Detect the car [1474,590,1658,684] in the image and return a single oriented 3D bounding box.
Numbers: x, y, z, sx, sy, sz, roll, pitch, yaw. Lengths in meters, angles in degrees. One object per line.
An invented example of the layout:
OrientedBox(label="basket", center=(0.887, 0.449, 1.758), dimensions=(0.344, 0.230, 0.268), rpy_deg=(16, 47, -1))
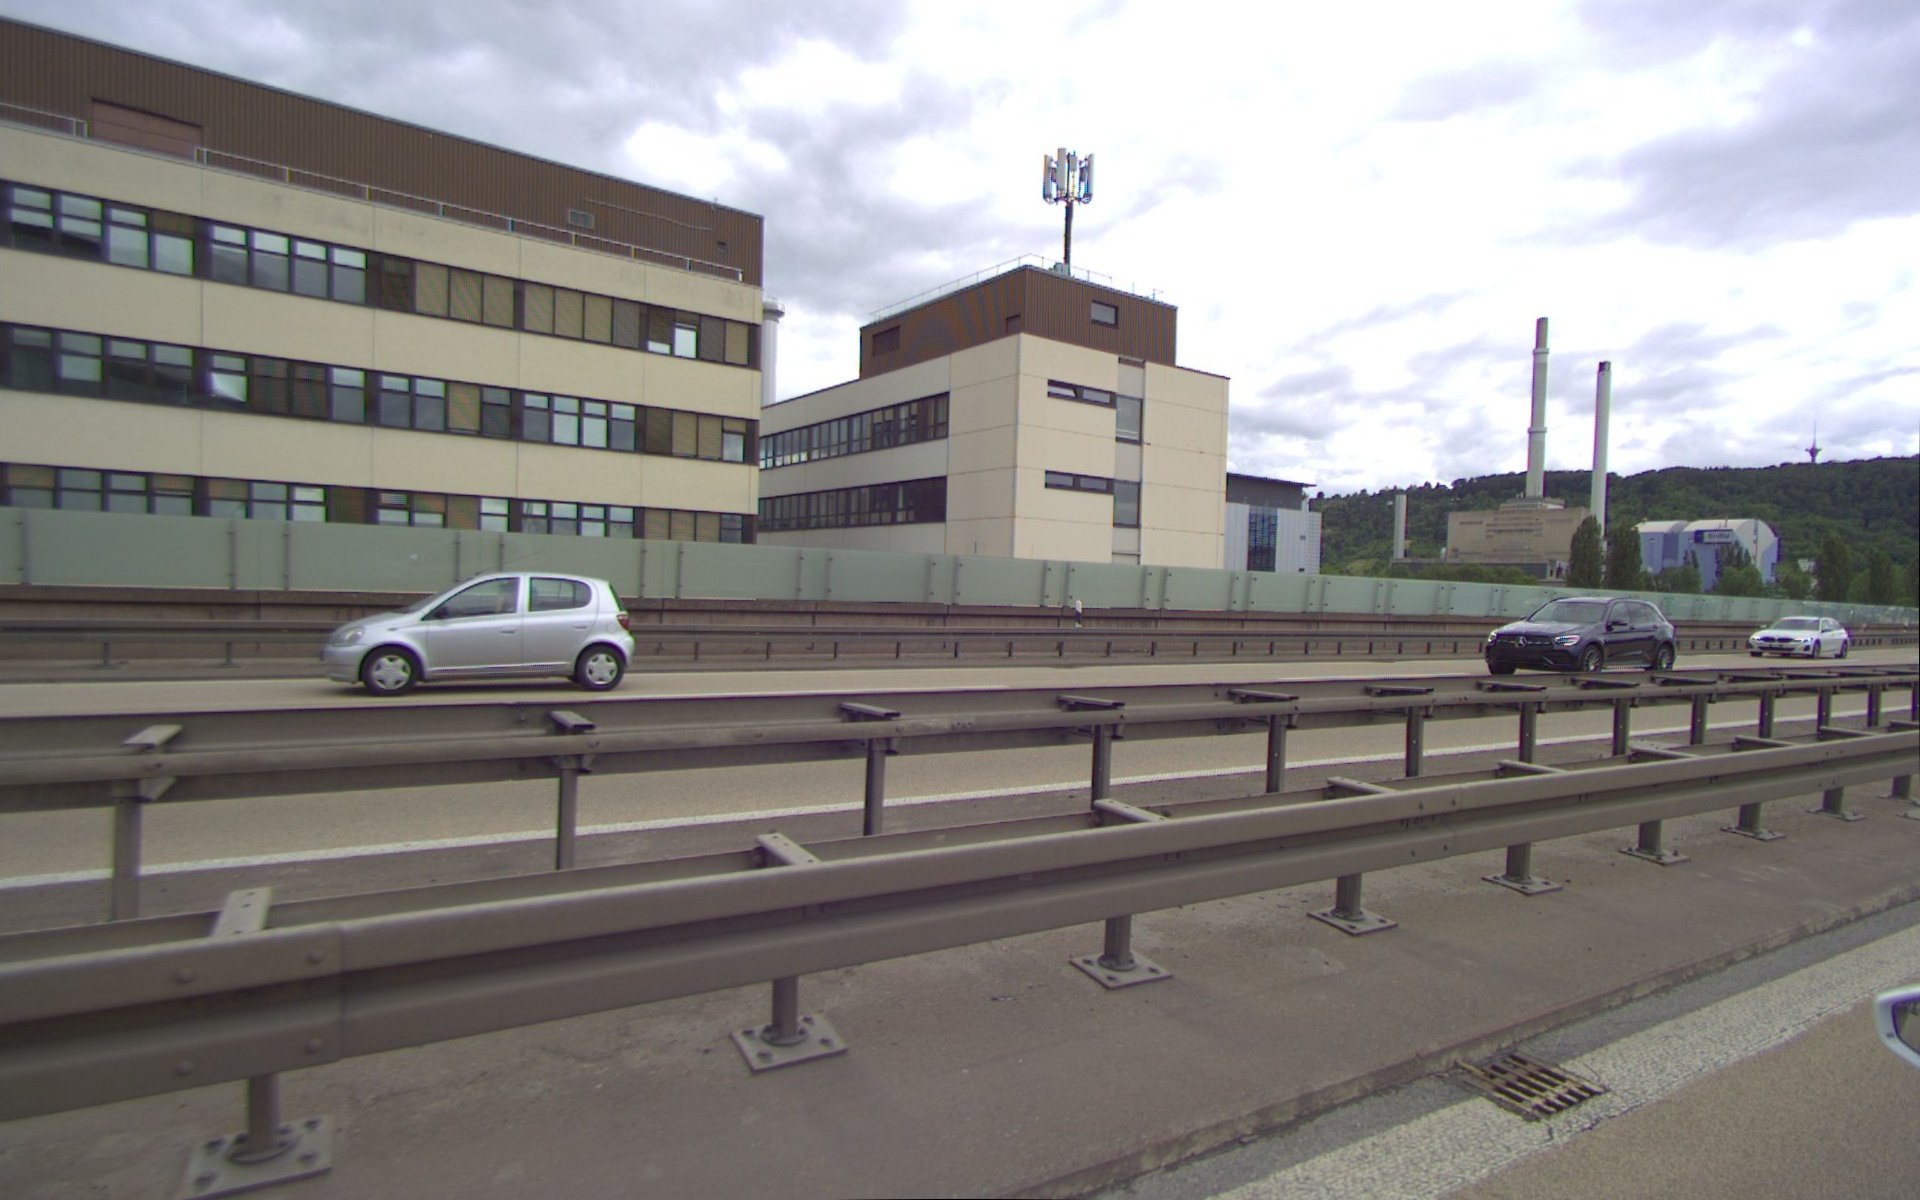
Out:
OrientedBox(label="car", center=(12.372, 0.731, 20.403), dimensions=(4.374, 1.697, 1.976), rpy_deg=(2, -1, -41))

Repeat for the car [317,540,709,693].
OrientedBox(label="car", center=(-5.733, 0.246, 13.137), dimensions=(4.356, 1.697, 1.984), rpy_deg=(2, -1, -30))

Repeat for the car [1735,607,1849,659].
OrientedBox(label="car", center=(29.375, 1.160, 35.438), dimensions=(4.364, 1.697, 1.981), rpy_deg=(2, -1, -35))
